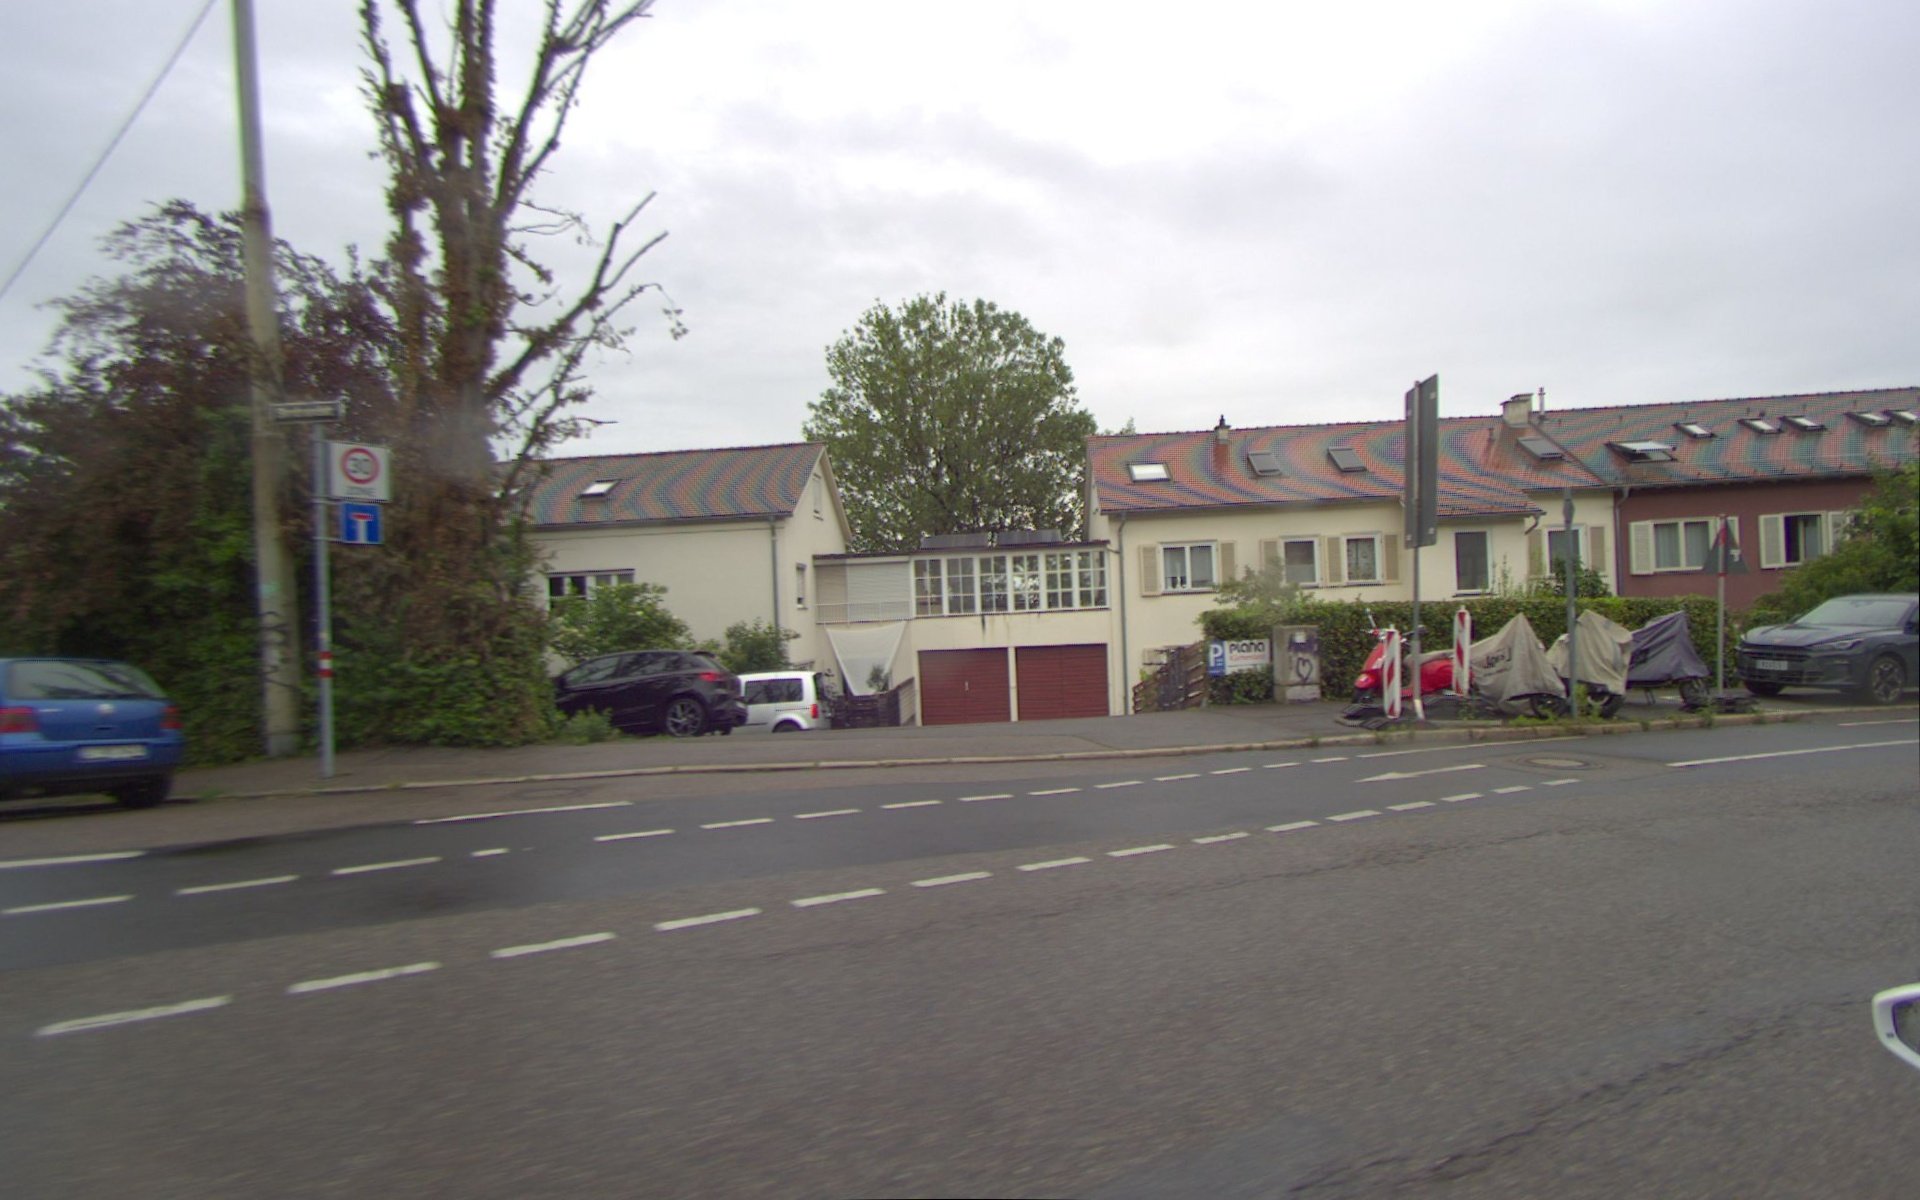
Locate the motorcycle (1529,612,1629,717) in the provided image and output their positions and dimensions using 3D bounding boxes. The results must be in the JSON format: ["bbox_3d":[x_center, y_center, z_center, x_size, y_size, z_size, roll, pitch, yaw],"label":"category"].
[{"bbox_3d":[8.544,0.848,13.938,0.601,1.321,1.808,0,1,12],"label":"motorcycle"}]

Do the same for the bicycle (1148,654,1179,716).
[{"bbox_3d":[3.600,1.517,17.828,0.299,1.048,1.305,2,-6,1],"label":"bicycle"}]

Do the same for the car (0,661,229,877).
[{"bbox_3d":[-9.266,1.427,9.431,3.863,1.687,1.843,0,-4,16],"label":"car"}]

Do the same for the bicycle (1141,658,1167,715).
[{"bbox_3d":[3.702,1.662,19.232,0.299,1.048,1.330,2,-6,3],"label":"bicycle"}]

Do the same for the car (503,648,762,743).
[{"bbox_3d":[-4.997,1.460,15.629,3.492,1.344,1.555,-1,-3,1],"label":"car"}]

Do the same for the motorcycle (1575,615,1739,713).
[{"bbox_3d":[9.950,0.874,14.390,1.880,1.288,0.572,0,1,43],"label":"motorcycle"}]

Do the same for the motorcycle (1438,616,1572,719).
[{"bbox_3d":[7.435,0.882,13.795,0.503,1.296,1.801,-1,0,-16],"label":"motorcycle"}]

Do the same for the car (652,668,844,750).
[{"bbox_3d":[-4.661,2.405,22.523,3.864,1.662,1.789,1,-3,1],"label":"car"}]

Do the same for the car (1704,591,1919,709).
[{"bbox_3d":[14.031,0.685,15.437,4.314,1.598,1.922,-1,1,-15],"label":"car"}]

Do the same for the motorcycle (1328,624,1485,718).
[{"bbox_3d":[5.865,0.928,13.220,1.887,1.155,0.510,-1,-3,-10],"label":"motorcycle"}]
